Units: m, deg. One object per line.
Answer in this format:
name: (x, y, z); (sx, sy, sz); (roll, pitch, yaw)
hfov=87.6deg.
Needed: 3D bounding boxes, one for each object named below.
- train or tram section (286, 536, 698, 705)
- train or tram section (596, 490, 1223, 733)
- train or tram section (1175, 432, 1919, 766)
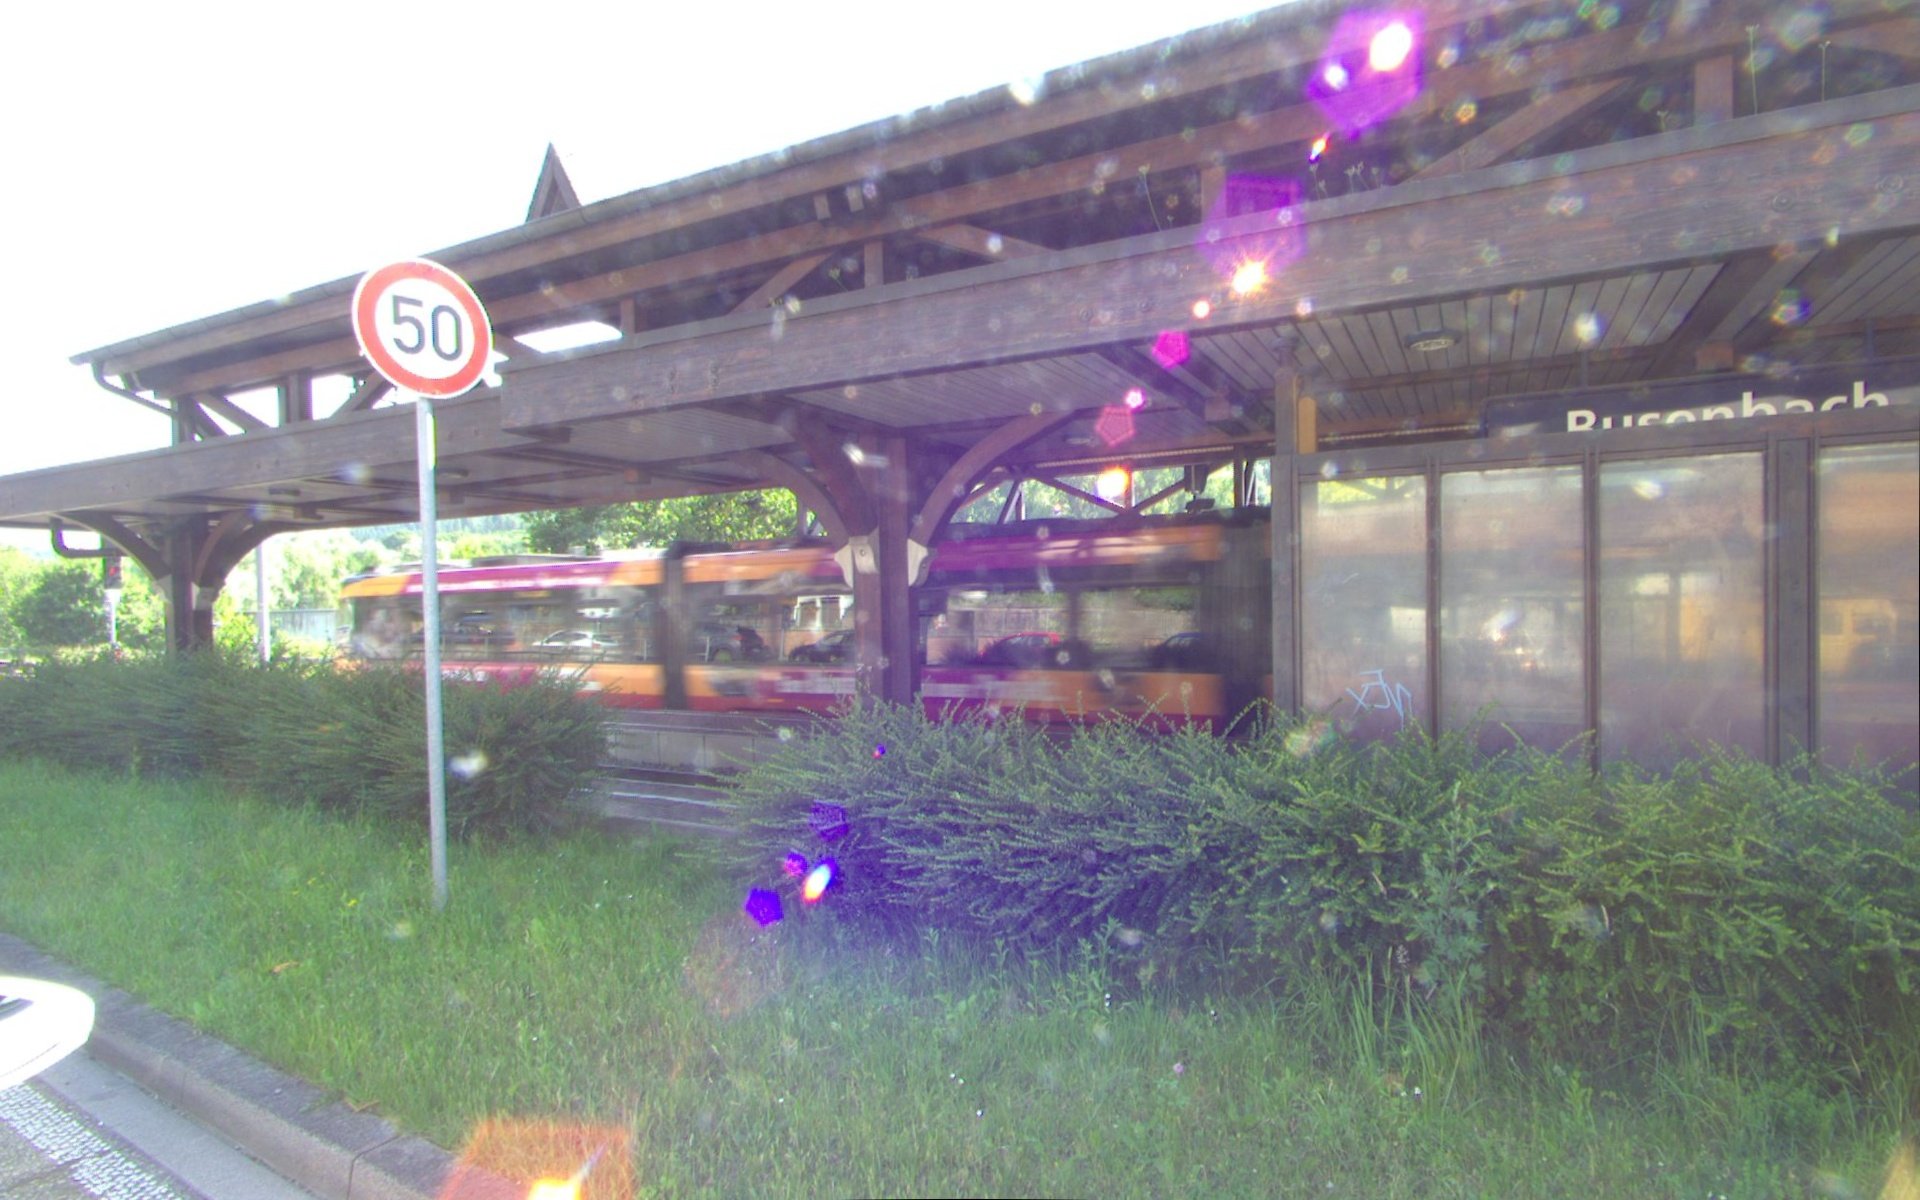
train or tram section: (-11.746, 0.465, 24.354); (11.867, 3.407, 2.753); (0, -2, 30)
train or tram section: (-1.469, 0.305, 18.265); (11.869, 3.406, 2.784); (-1, -2, 31)
train or tram section: (9.859, 0.028, 11.837); (14.133, 3.408, 2.854); (-1, -1, 29)
